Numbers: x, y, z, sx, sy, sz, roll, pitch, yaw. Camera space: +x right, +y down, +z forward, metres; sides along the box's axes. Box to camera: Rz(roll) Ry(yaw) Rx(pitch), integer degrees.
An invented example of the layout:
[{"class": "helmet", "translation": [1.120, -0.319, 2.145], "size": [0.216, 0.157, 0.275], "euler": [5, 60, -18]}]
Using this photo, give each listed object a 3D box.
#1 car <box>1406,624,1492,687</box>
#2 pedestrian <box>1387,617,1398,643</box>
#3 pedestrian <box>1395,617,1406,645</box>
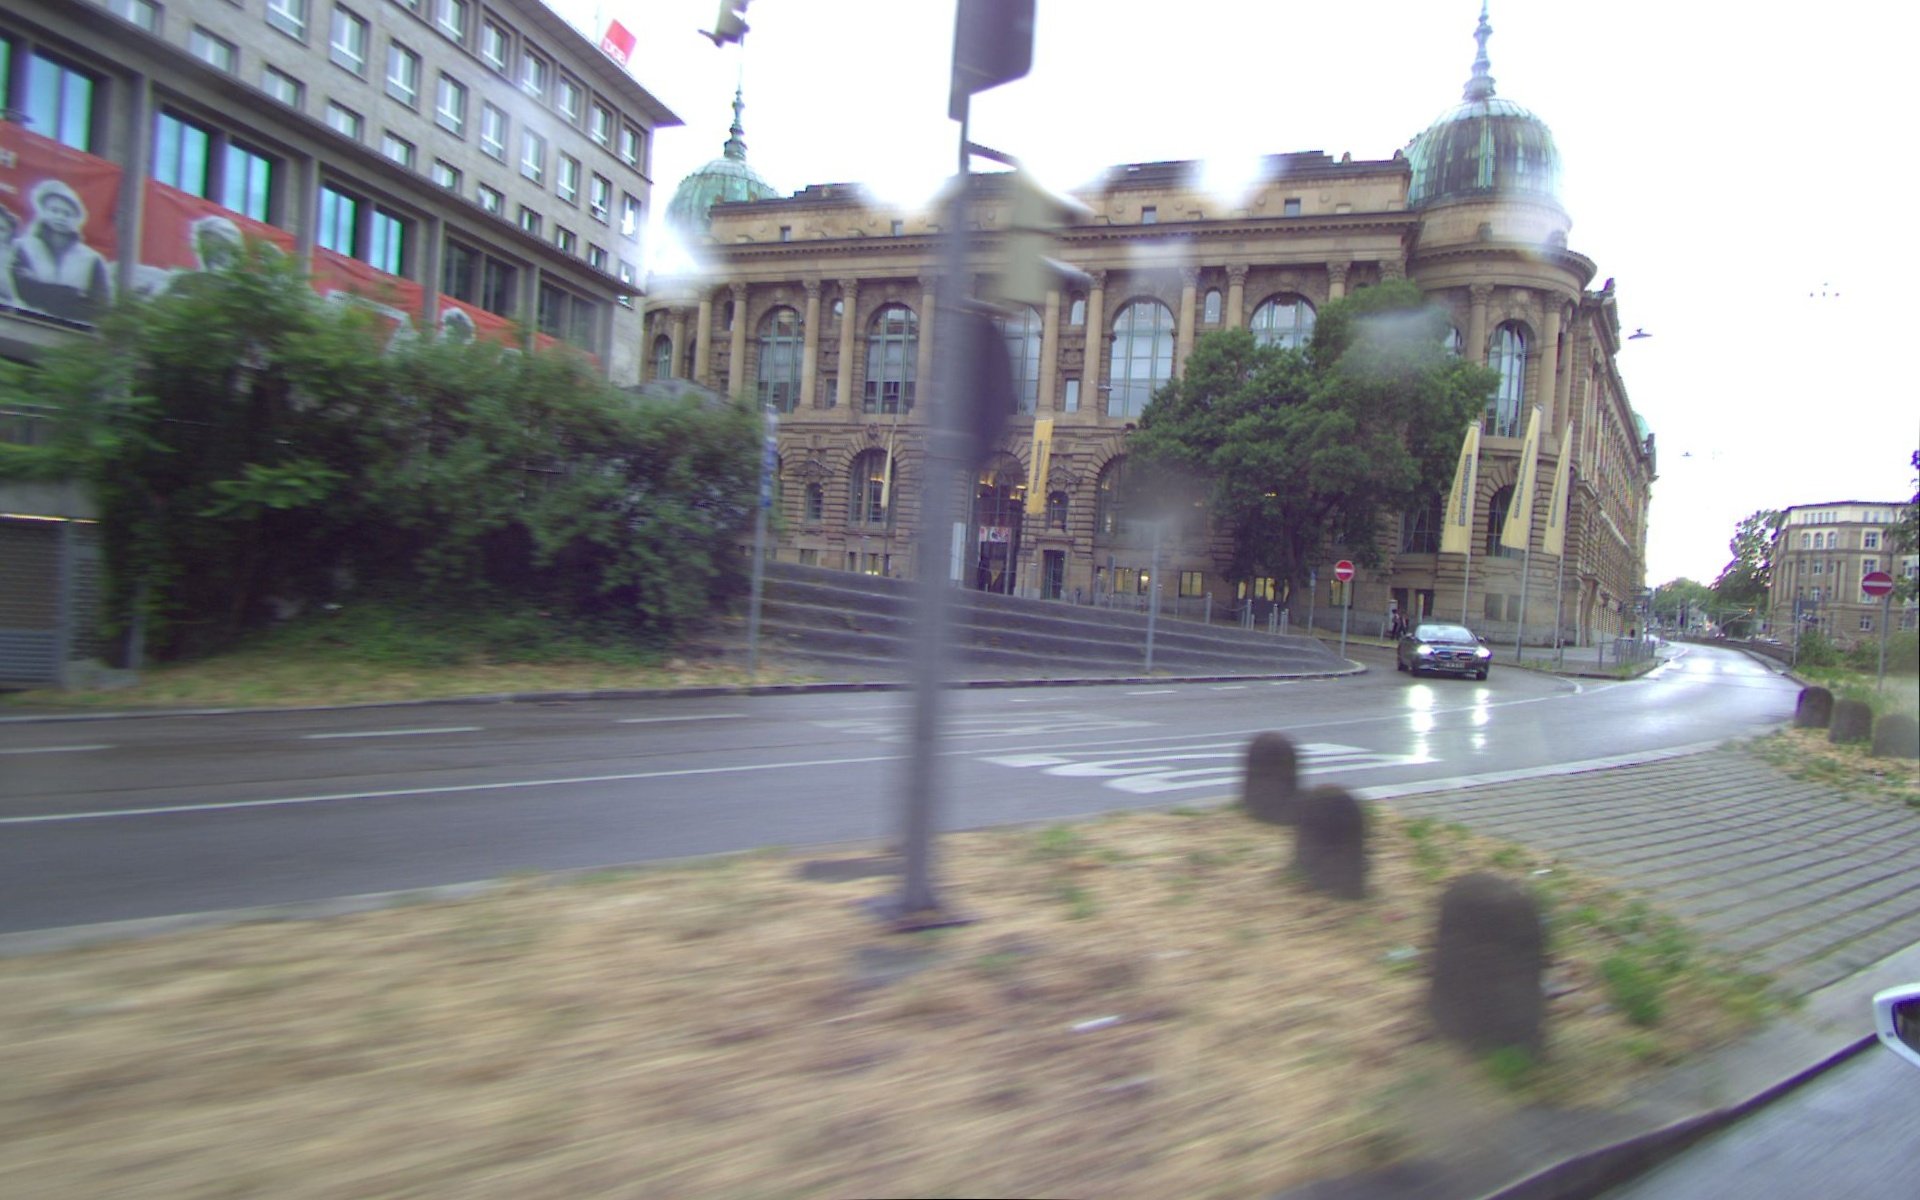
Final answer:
[{"class": "car", "translation": [13.863, 1.539, 28.362], "size": [1.963, 1.513, 4.836], "euler": [3, -1, 28]}, {"class": "pedestrian", "translation": [22.560, 1.564, 52.402], "size": [0.433, 1.363, 0.644], "euler": [4, 0, 19]}, {"class": "pedestrian", "translation": [22.385, 1.581, 51.005], "size": [0.379, 1.363, 0.442], "euler": [4, 0, 19]}]
